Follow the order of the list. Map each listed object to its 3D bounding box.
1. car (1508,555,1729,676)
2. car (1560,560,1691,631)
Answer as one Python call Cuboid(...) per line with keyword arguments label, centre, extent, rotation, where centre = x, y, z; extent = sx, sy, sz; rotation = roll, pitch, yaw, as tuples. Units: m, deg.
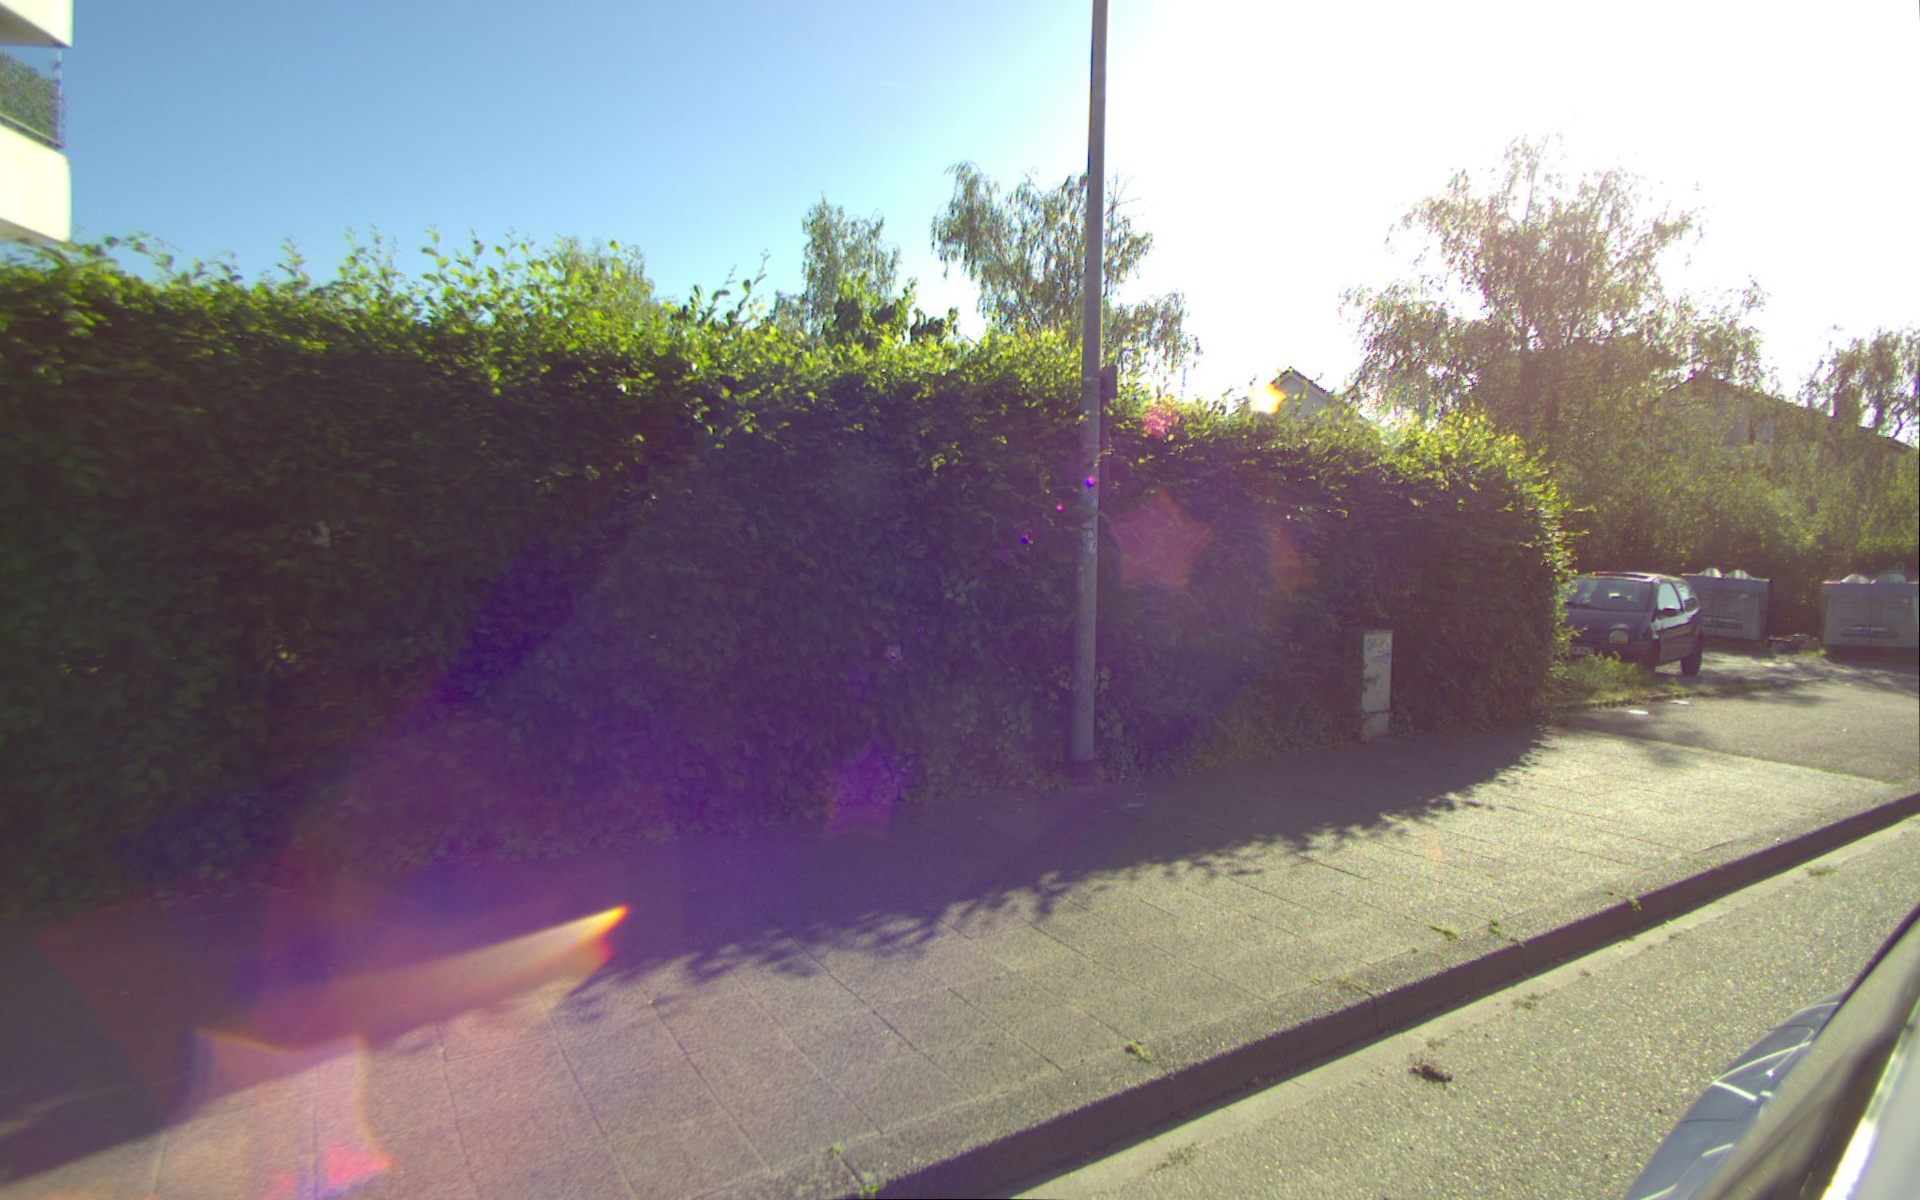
Cuboid(label="car", centre=(9.542, 0.166, 14.597), extent=(3.471, 1.484, 1.702), rotation=(0, 3, -41))
Cuboid(label="car", centre=(15.269, -0.091, 23.139), extent=(3.998, 1.456, 1.631), rotation=(1, 2, -44))
